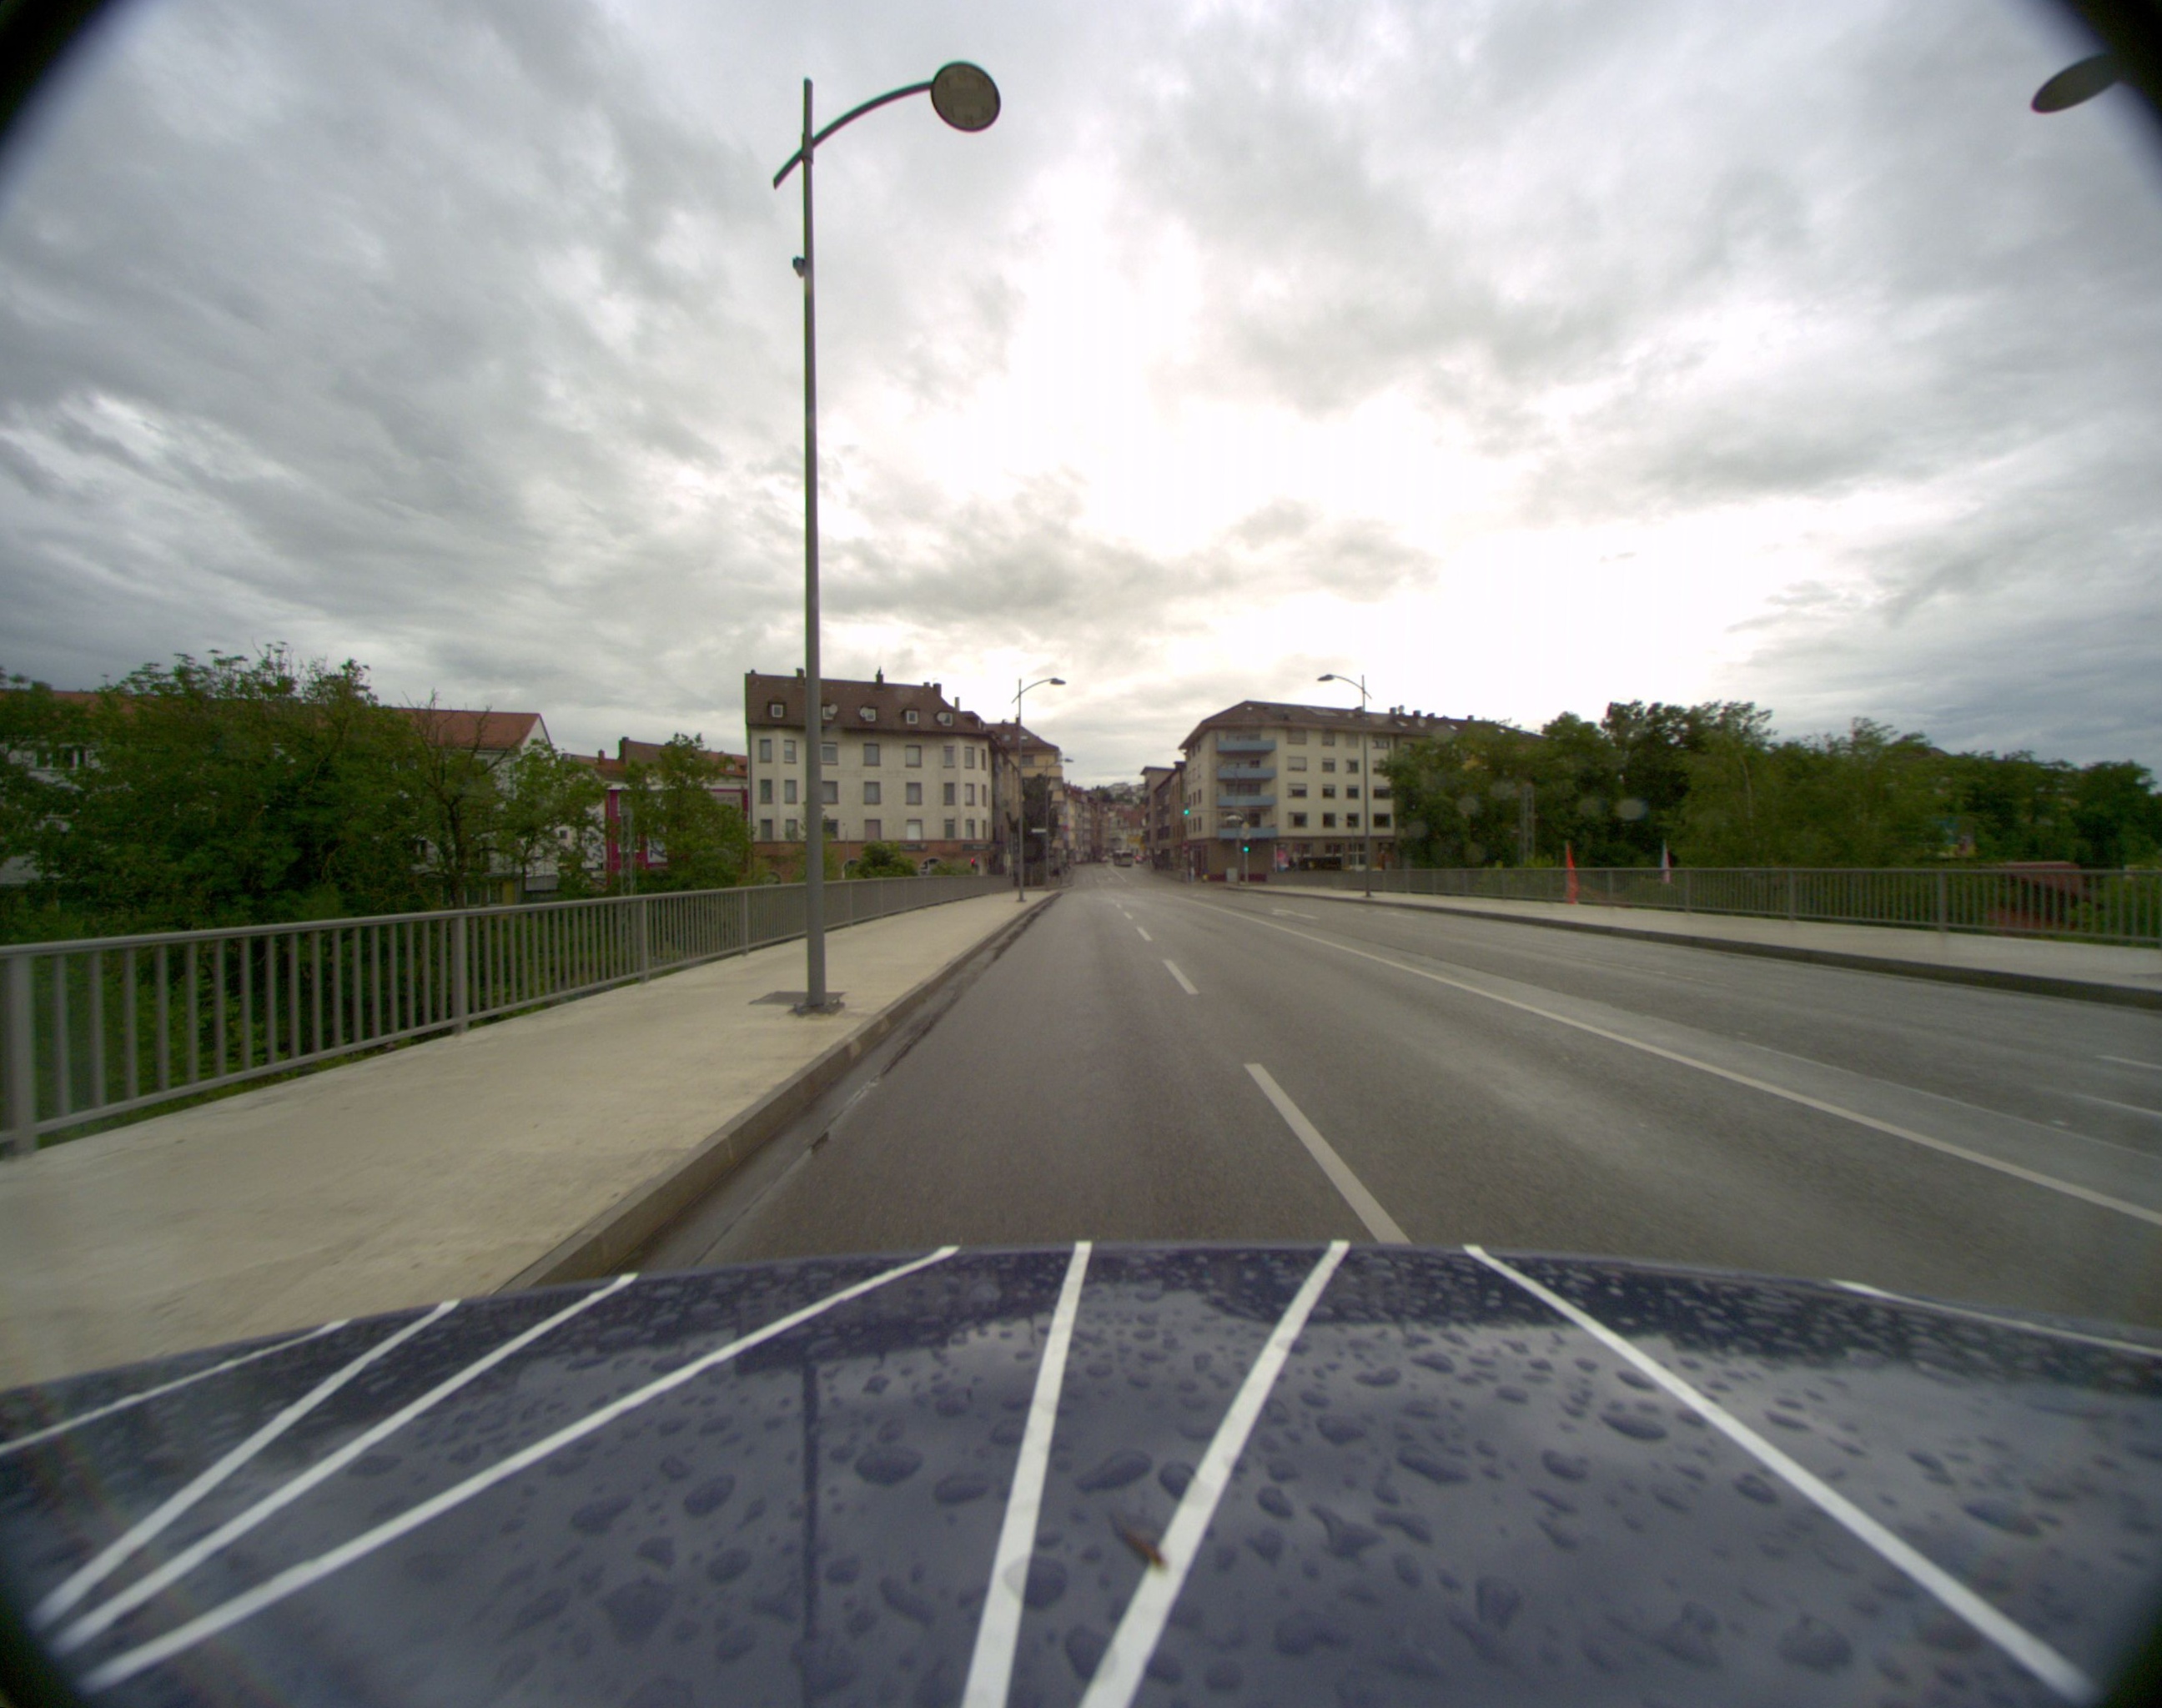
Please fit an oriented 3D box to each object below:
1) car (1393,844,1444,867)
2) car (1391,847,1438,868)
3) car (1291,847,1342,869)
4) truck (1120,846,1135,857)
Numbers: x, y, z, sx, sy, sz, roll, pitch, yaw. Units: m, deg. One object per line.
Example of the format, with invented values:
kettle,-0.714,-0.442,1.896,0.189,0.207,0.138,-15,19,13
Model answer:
car,31.593,0.102,71.018,4.361,2.002,2.130,-2,1,-29
car,34.056,0.349,77.512,4.361,2.002,2.130,-2,1,-29
car,23.371,0.372,75.447,4.359,2.002,2.131,-2,1,-20
truck,9.158,-0.524,149.946,2.475,2.002,4.819,-2,1,1
